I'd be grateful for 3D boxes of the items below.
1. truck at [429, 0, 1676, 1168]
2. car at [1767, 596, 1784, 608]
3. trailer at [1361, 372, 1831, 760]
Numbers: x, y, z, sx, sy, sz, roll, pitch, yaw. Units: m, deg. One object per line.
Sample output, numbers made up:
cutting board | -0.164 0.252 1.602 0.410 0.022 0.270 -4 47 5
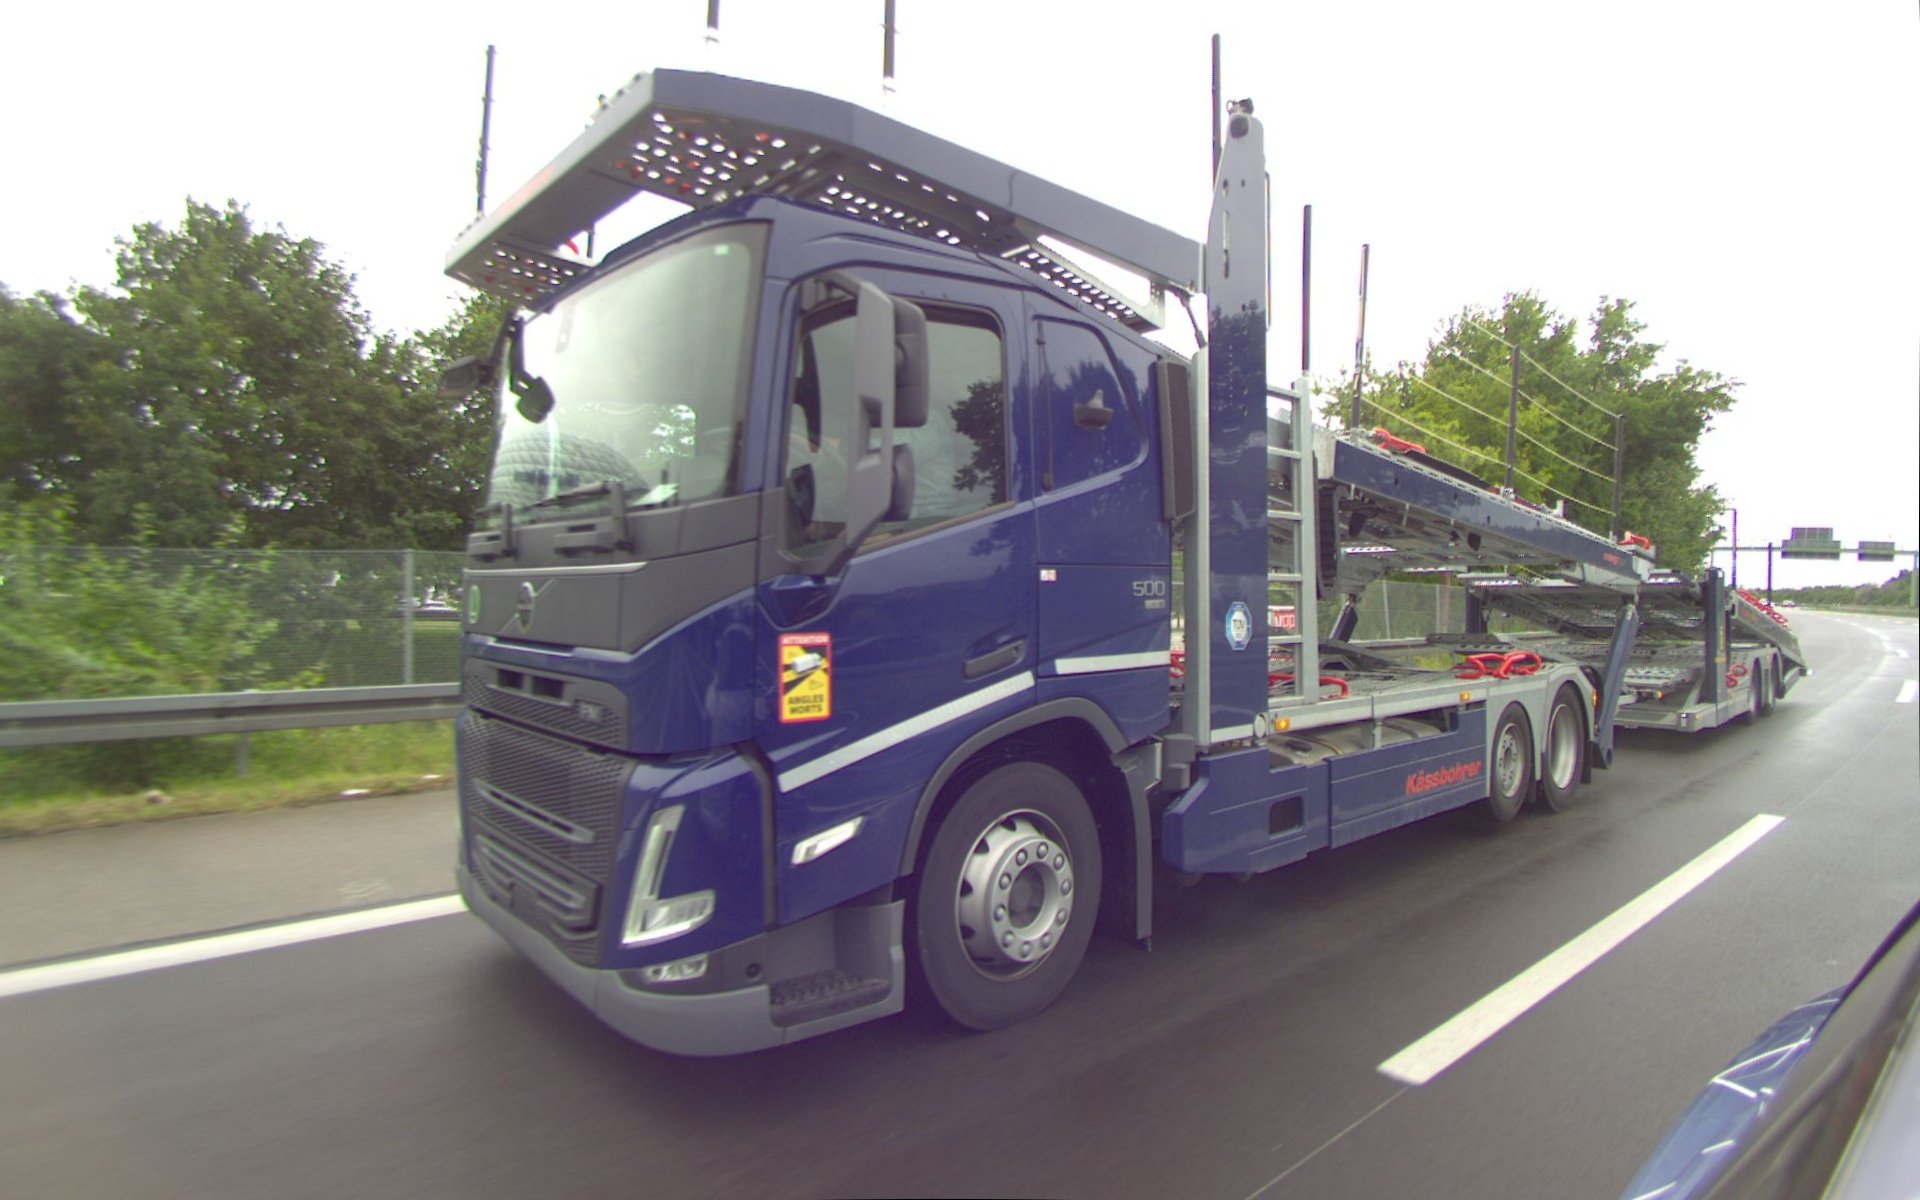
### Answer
truck | 1.827 -0.552 6.603 8.971 4.019 2.742 1 -1 -42
car | 126.100 0.265 156.500 1.619 1.661 3.733 1 2 33
trailer | 8.910 -0.322 13.250 10.233 3.326 2.780 0 1 -44
